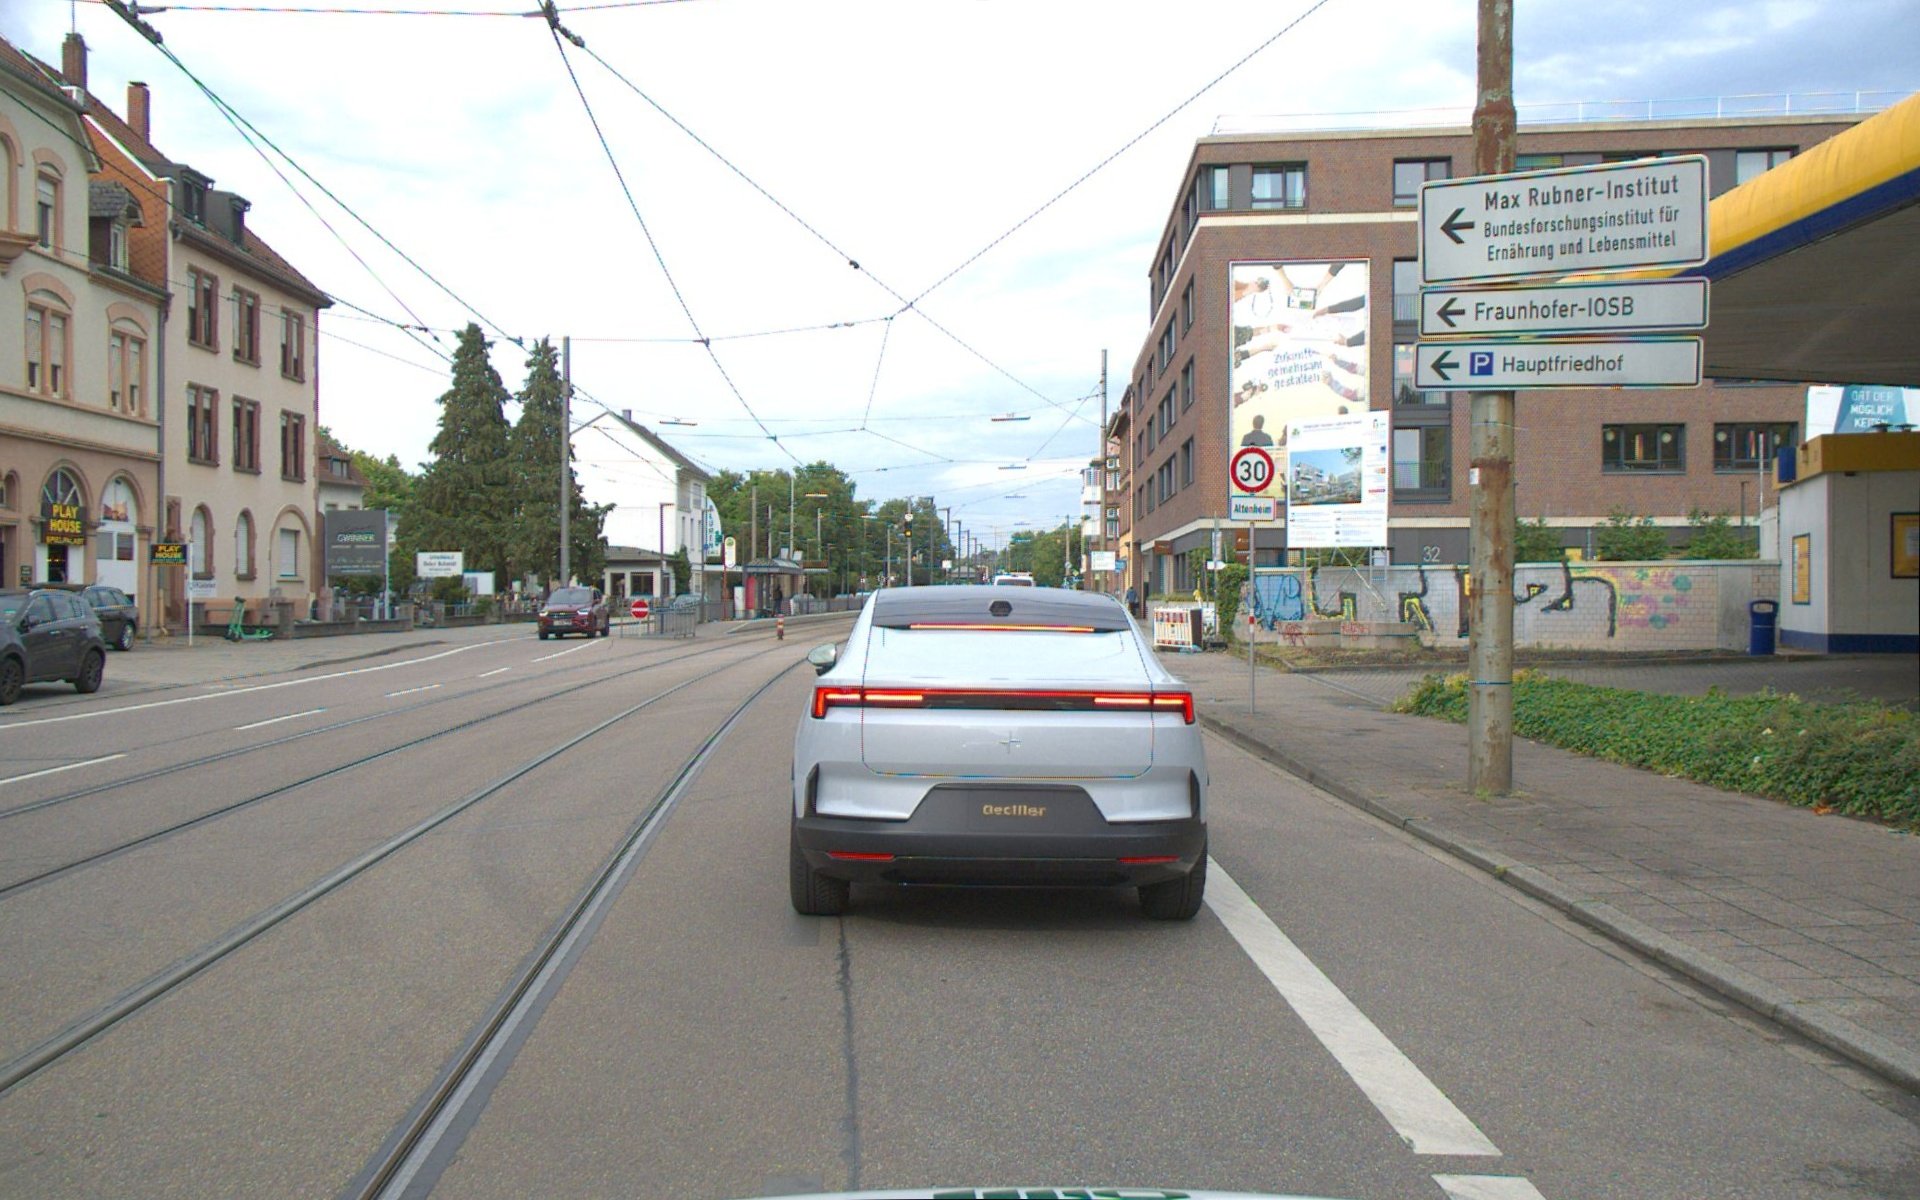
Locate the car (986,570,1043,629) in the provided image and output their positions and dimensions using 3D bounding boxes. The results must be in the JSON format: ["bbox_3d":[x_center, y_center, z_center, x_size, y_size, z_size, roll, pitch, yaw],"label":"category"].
[{"bbox_3d":[2.329,-0.010,71.907,2.181,2.444,5.122,1,0,-1],"label":"car"}]

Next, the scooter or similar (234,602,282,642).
[{"bbox_3d":[-19.704,0.617,46.450,1.162,1.121,0.522,1,-1,-32],"label":"scooter or similar"}]

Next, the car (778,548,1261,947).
[{"bbox_3d":[0.186,0.623,8.781,1.959,1.608,3.998,1,0,-2],"label":"car"}]

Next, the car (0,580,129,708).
[{"bbox_3d":[-14.924,0.609,25.673,1.997,1.780,4.531,2,1,-5],"label":"car"}]

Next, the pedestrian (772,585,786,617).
[{"bbox_3d":[-9.575,0.048,87.374,0.602,1.694,0.698,1,0,5],"label":"pedestrian"}]

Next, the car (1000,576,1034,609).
[{"bbox_3d":[3.591,-0.456,105.314,1.953,2.049,3.999,1,0,-1],"label":"car"}]

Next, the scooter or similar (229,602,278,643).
[{"bbox_3d":[-19.500,0.617,45.638,1.162,1.121,0.522,1,-1,-32],"label":"scooter or similar"}]

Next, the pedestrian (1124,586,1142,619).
[{"bbox_3d":[10.115,0.121,96.757,0.940,1.882,0.976,-2,1,8],"label":"pedestrian"}]

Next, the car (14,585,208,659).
[{"bbox_3d":[-18.782,0.463,36.879,1.953,1.519,4.900,0,0,-2],"label":"car"}]

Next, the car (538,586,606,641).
[{"bbox_3d":[-12.919,0.438,55.242,1.807,1.754,4.399,0,0,-8],"label":"car"}]

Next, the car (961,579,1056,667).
[{"bbox_3d":[1.037,0.482,37.361,1.953,1.847,3.999,-1,0,-1],"label":"car"}]

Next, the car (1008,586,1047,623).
[{"bbox_3d":[3.820,0.238,94.328,1.953,2.049,3.999,1,0,-1],"label":"car"}]

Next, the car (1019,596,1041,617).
[{"bbox_3d":[7.055,0.648,167.034,1.953,2.049,3.999,1,0,-1],"label":"car"}]

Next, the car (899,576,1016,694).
[{"bbox_3d":[0.030,0.523,26.282,1.646,1.717,3.825,1,0,3],"label":"car"}]
